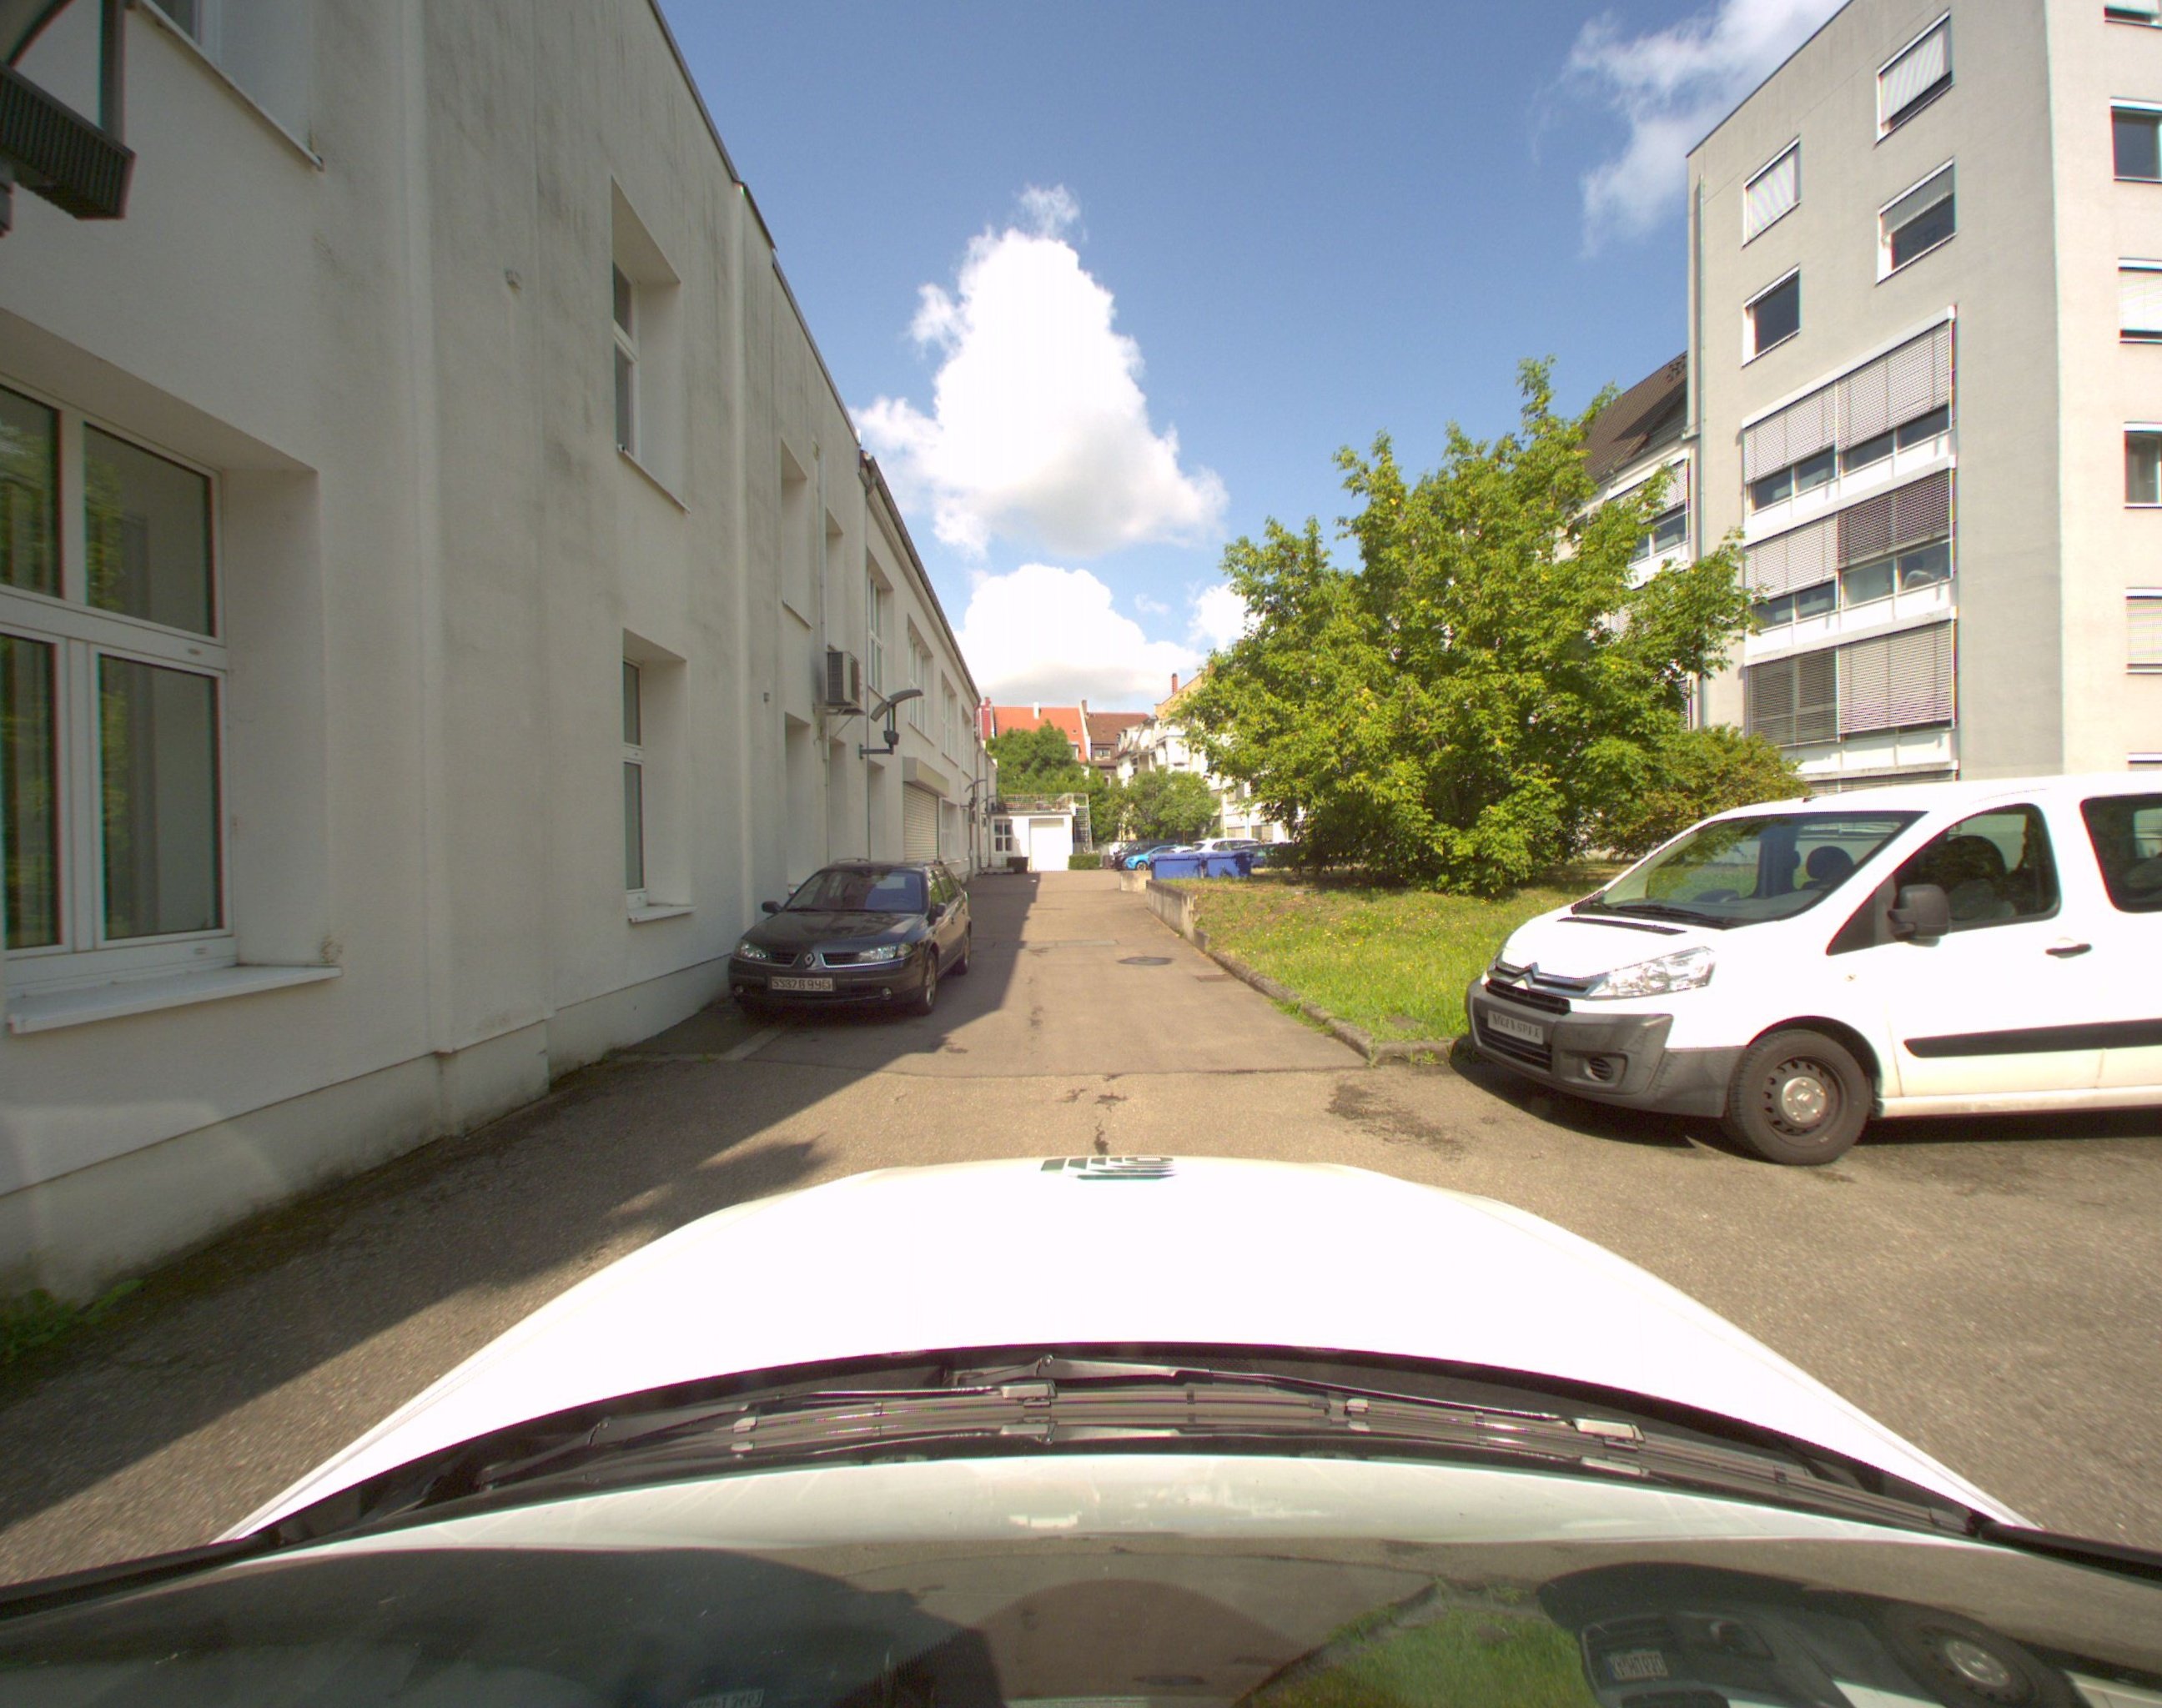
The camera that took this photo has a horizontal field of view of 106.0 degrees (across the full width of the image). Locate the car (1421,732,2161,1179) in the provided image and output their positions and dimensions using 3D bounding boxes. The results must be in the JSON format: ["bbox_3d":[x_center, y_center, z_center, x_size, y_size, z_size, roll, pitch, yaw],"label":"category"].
[{"bbox_3d":[4.871,0.416,4.766,4.925,1.964,1.999,-2,0,-2],"label":"car"}]

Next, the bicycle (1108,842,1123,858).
[{"bbox_3d":[2.552,-0.269,60.038,0.641,1.117,1.851,1,-1,-11],"label":"bicycle"}]

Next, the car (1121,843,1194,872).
[{"bbox_3d":[4.470,0.190,47.807,3.985,1.574,1.624,-2,1,-9],"label":"car"}]

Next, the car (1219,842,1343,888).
[{"bbox_3d":[7.377,0.412,30.206,4.111,1.606,1.750,1,-1,-9],"label":"car"}]

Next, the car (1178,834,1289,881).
[{"bbox_3d":[6.112,0.123,32.870,3.985,1.745,1.944,-1,0,-9],"label":"car"}]

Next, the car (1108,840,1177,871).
[{"bbox_3d":[3.787,0.100,50.517,3.985,1.817,1.659,1,-1,-9],"label":"car"}]

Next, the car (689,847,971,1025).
[{"bbox_3d":[-2.341,0.774,8.866,1.875,1.442,4.335,0,-3,-3],"label":"car"}]

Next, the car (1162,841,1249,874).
[{"bbox_3d":[6.182,0.174,40.688,3.985,1.445,1.624,-2,1,-9],"label":"car"}]
